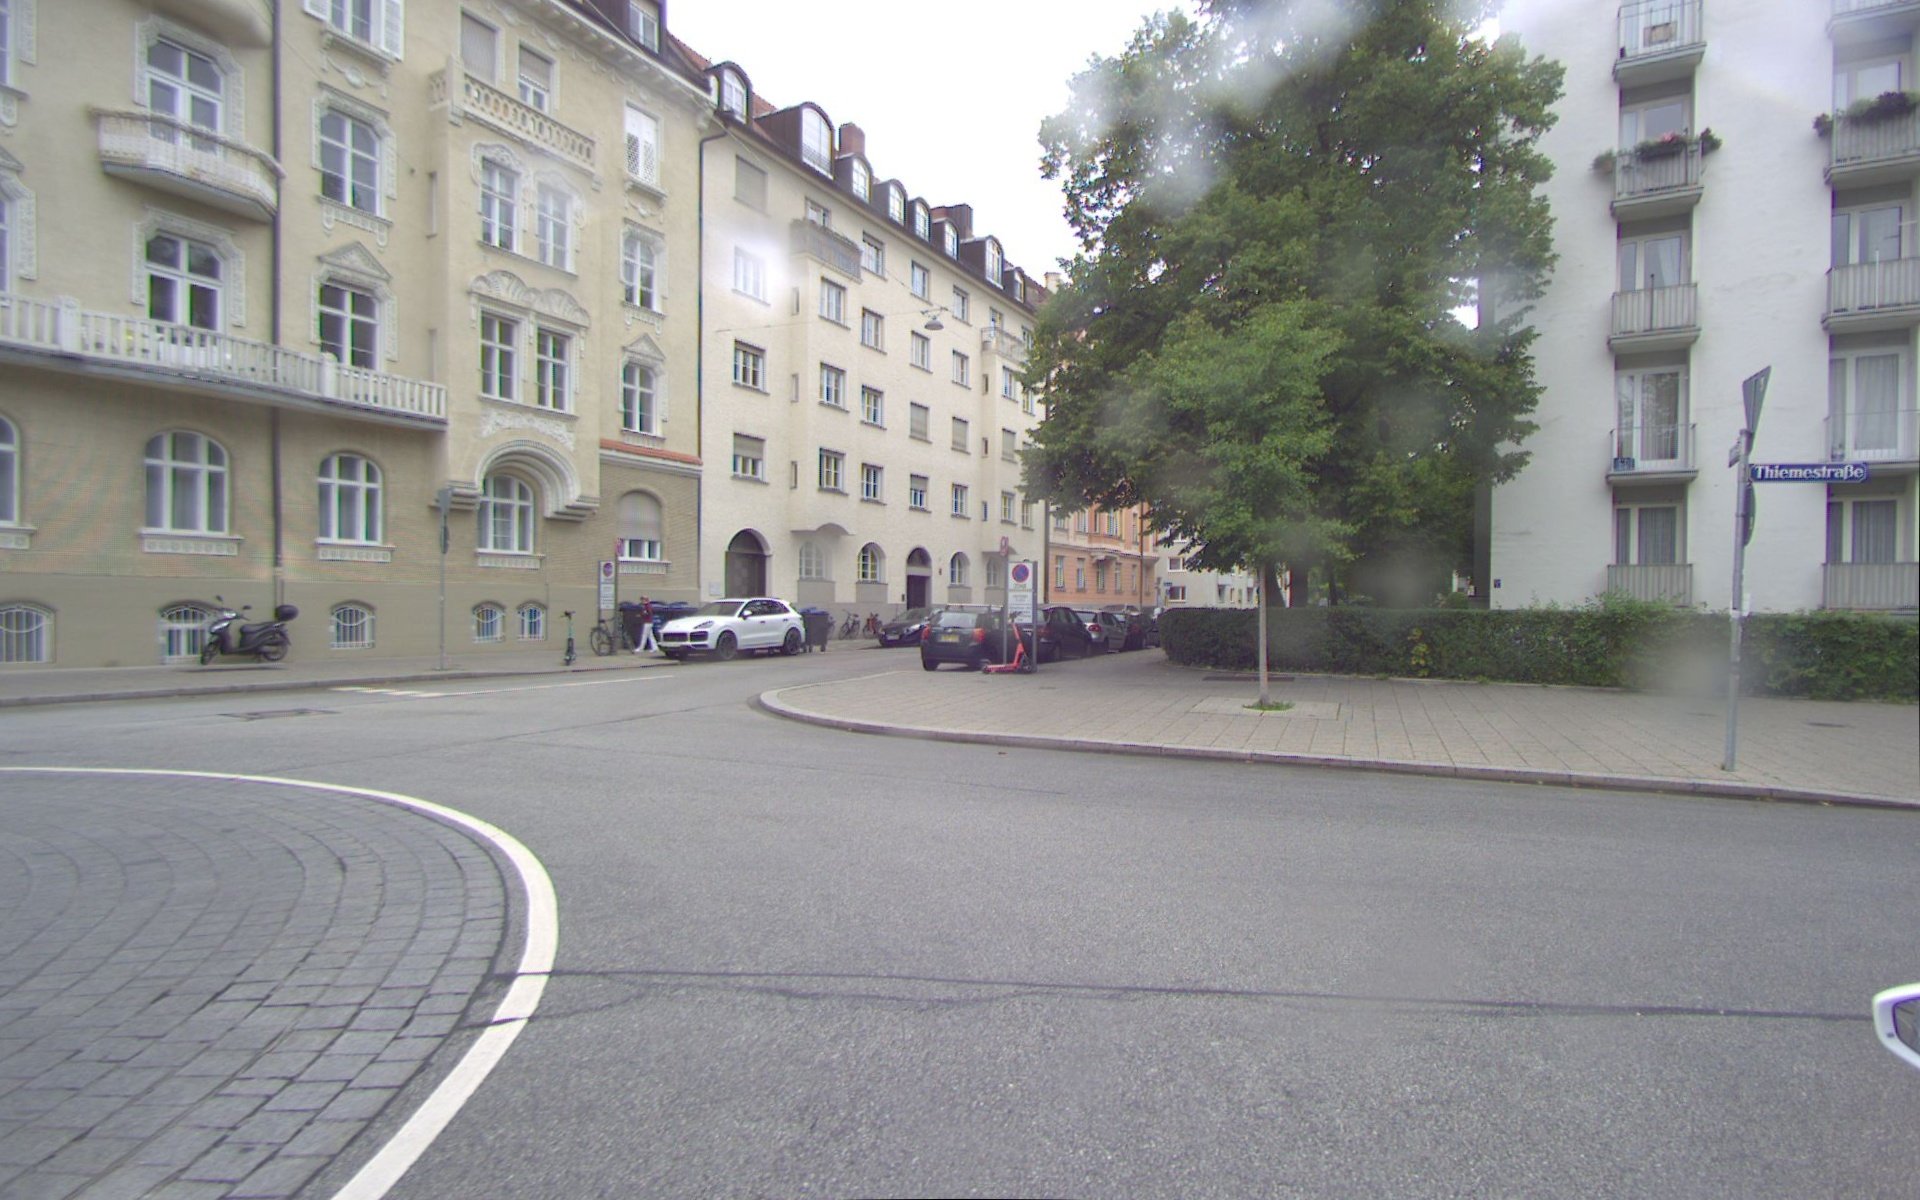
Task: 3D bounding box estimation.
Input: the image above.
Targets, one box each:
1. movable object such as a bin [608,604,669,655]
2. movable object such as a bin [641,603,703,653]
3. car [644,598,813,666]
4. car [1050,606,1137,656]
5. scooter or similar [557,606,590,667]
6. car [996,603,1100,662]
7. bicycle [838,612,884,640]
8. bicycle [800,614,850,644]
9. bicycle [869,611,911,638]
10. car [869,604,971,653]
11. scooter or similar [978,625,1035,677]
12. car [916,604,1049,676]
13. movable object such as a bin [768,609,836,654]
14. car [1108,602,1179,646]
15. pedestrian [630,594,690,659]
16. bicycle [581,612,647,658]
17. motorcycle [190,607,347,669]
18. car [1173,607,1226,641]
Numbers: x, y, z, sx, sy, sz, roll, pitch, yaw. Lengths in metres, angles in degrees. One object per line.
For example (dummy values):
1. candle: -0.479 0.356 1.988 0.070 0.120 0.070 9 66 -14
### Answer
1. movable object such as a bin: -9.667 0.861 30.219 1.321 1.477 1.161 0 0 29
2. movable object such as a bin: -8.949 0.854 31.260 1.321 1.477 1.294 0 0 29
3. car: -6.352 0.839 28.151 1.963 1.714 4.803 1 0 27
4. car: 4.489 0.978 33.327 1.742 1.538 4.032 1 0 24
5. scooter or similar: -9.148 0.847 23.823 0.698 1.413 1.349 1 0 -21
6. car: 2.611 0.890 28.988 1.742 1.538 4.032 1 0 24
7. bicycle: -4.068 1.059 41.406 0.741 1.124 2.291 1 0 28
8. bicycle: -5.213 1.105 38.995 0.741 1.124 2.291 1 0 28
9. bicycle: -3.018 1.054 43.502 0.741 1.124 2.291 1 0 28
10. car: -1.419 1.016 37.488 1.963 1.714 4.206 1 0 27
11. scooter or similar: 0.965 1.052 20.823 1.118 1.039 0.379 1 0 16
12. car: 0.644 0.884 24.062 1.742 1.538 4.032 1 0 24
13. movable object such as a bin: -5.057 0.984 32.302 1.534 1.367 1.535 1 0 30
14. car: 7.046 0.873 38.262 1.742 1.538 4.032 1 0 24
15. pedestrian: -8.737 0.750 29.262 1.112 1.829 1.269 0 0 29
16. bicycle: -9.302 0.924 27.087 0.540 1.165 1.843 1 0 26
17. motorcycle: -14.514 0.768 21.185 0.988 1.195 2.560 1 0 28
18. car: 11.610 1.147 48.581 1.742 1.538 4.032 1 0 24
